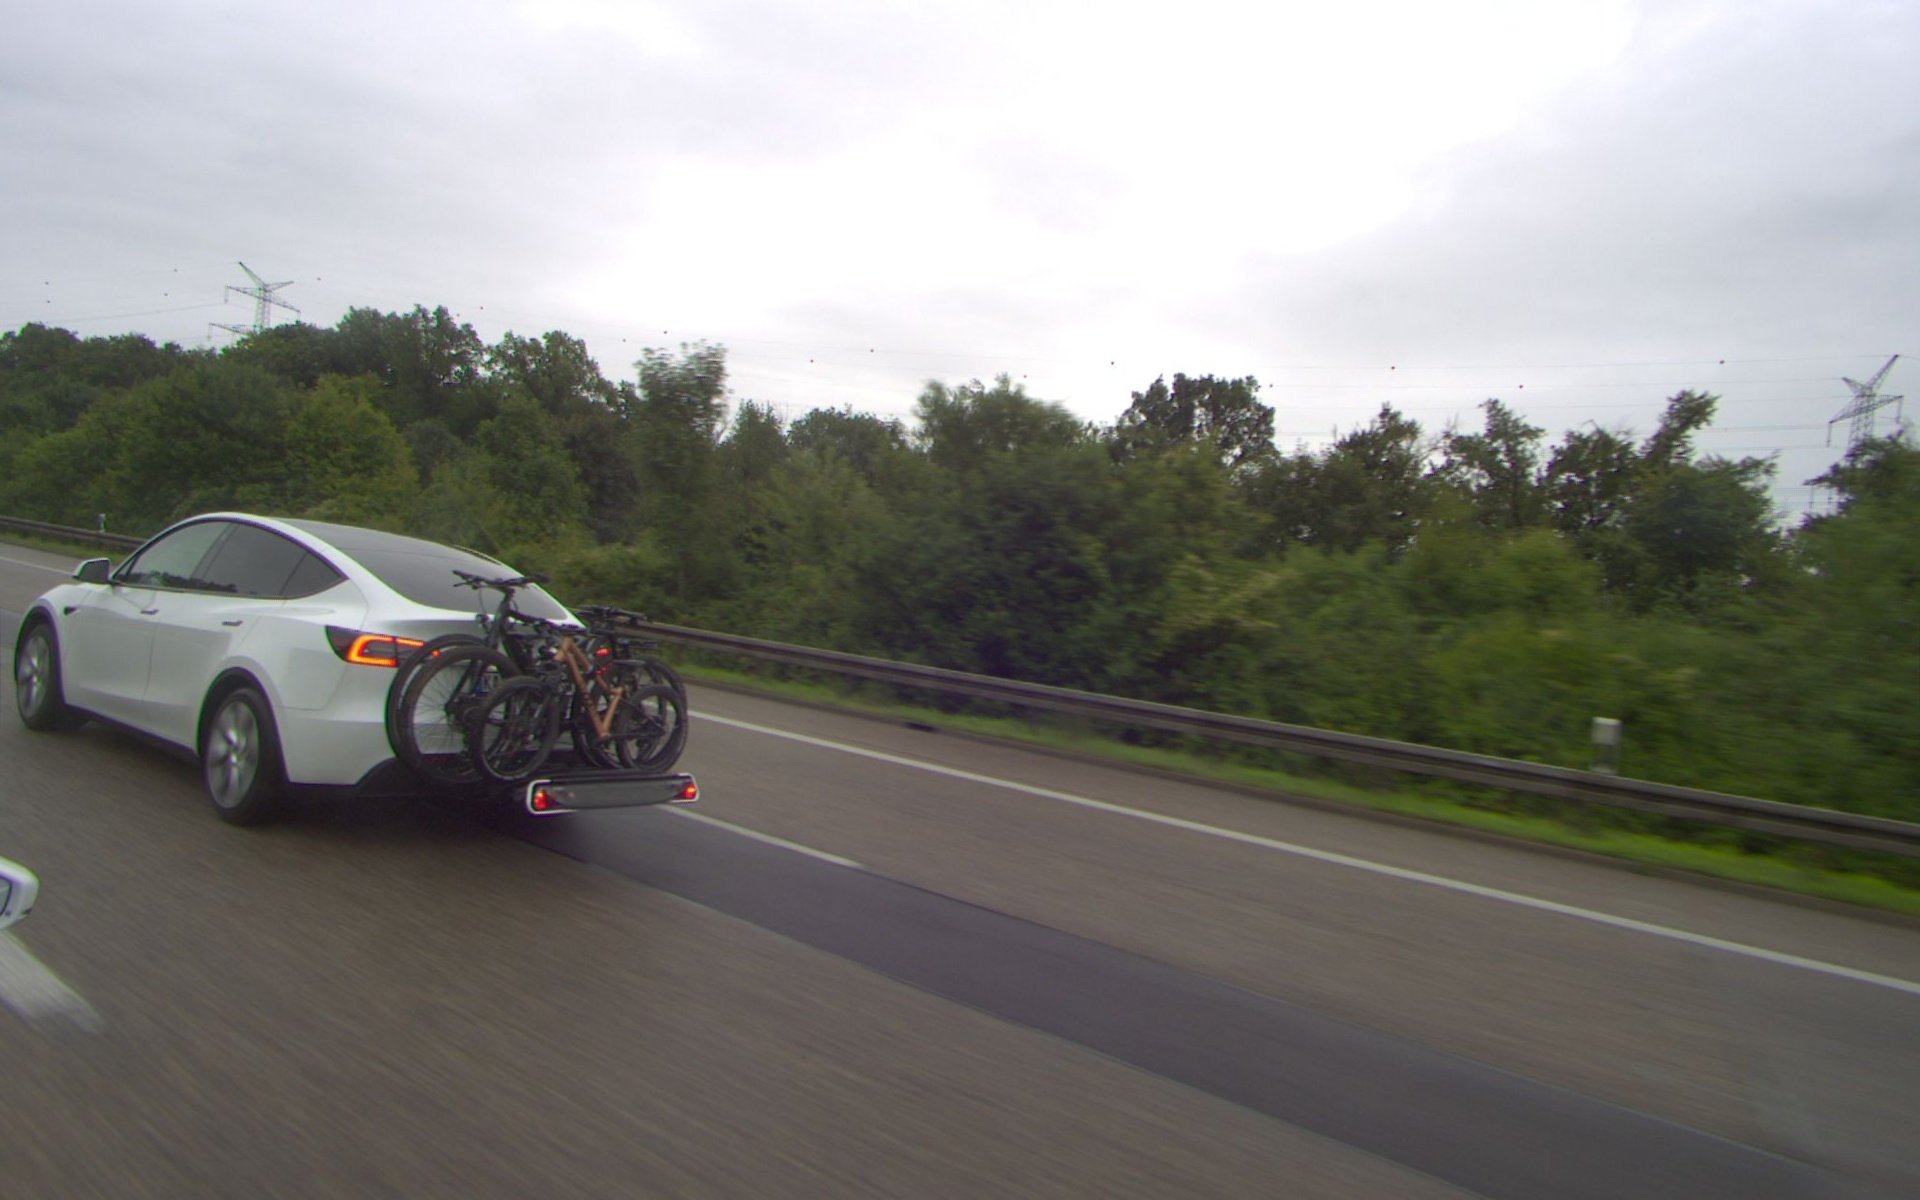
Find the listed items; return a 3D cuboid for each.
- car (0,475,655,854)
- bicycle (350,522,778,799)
[{"bbox_3d":[-4.498,0.213,6.655,4.882,1.586,1.863,7,-1,32],"label":"car"},{"bbox_3d":[-1.893,0.300,5.095,0.898,1.103,1.756,6,-1,30],"label":"bicycle"}]
